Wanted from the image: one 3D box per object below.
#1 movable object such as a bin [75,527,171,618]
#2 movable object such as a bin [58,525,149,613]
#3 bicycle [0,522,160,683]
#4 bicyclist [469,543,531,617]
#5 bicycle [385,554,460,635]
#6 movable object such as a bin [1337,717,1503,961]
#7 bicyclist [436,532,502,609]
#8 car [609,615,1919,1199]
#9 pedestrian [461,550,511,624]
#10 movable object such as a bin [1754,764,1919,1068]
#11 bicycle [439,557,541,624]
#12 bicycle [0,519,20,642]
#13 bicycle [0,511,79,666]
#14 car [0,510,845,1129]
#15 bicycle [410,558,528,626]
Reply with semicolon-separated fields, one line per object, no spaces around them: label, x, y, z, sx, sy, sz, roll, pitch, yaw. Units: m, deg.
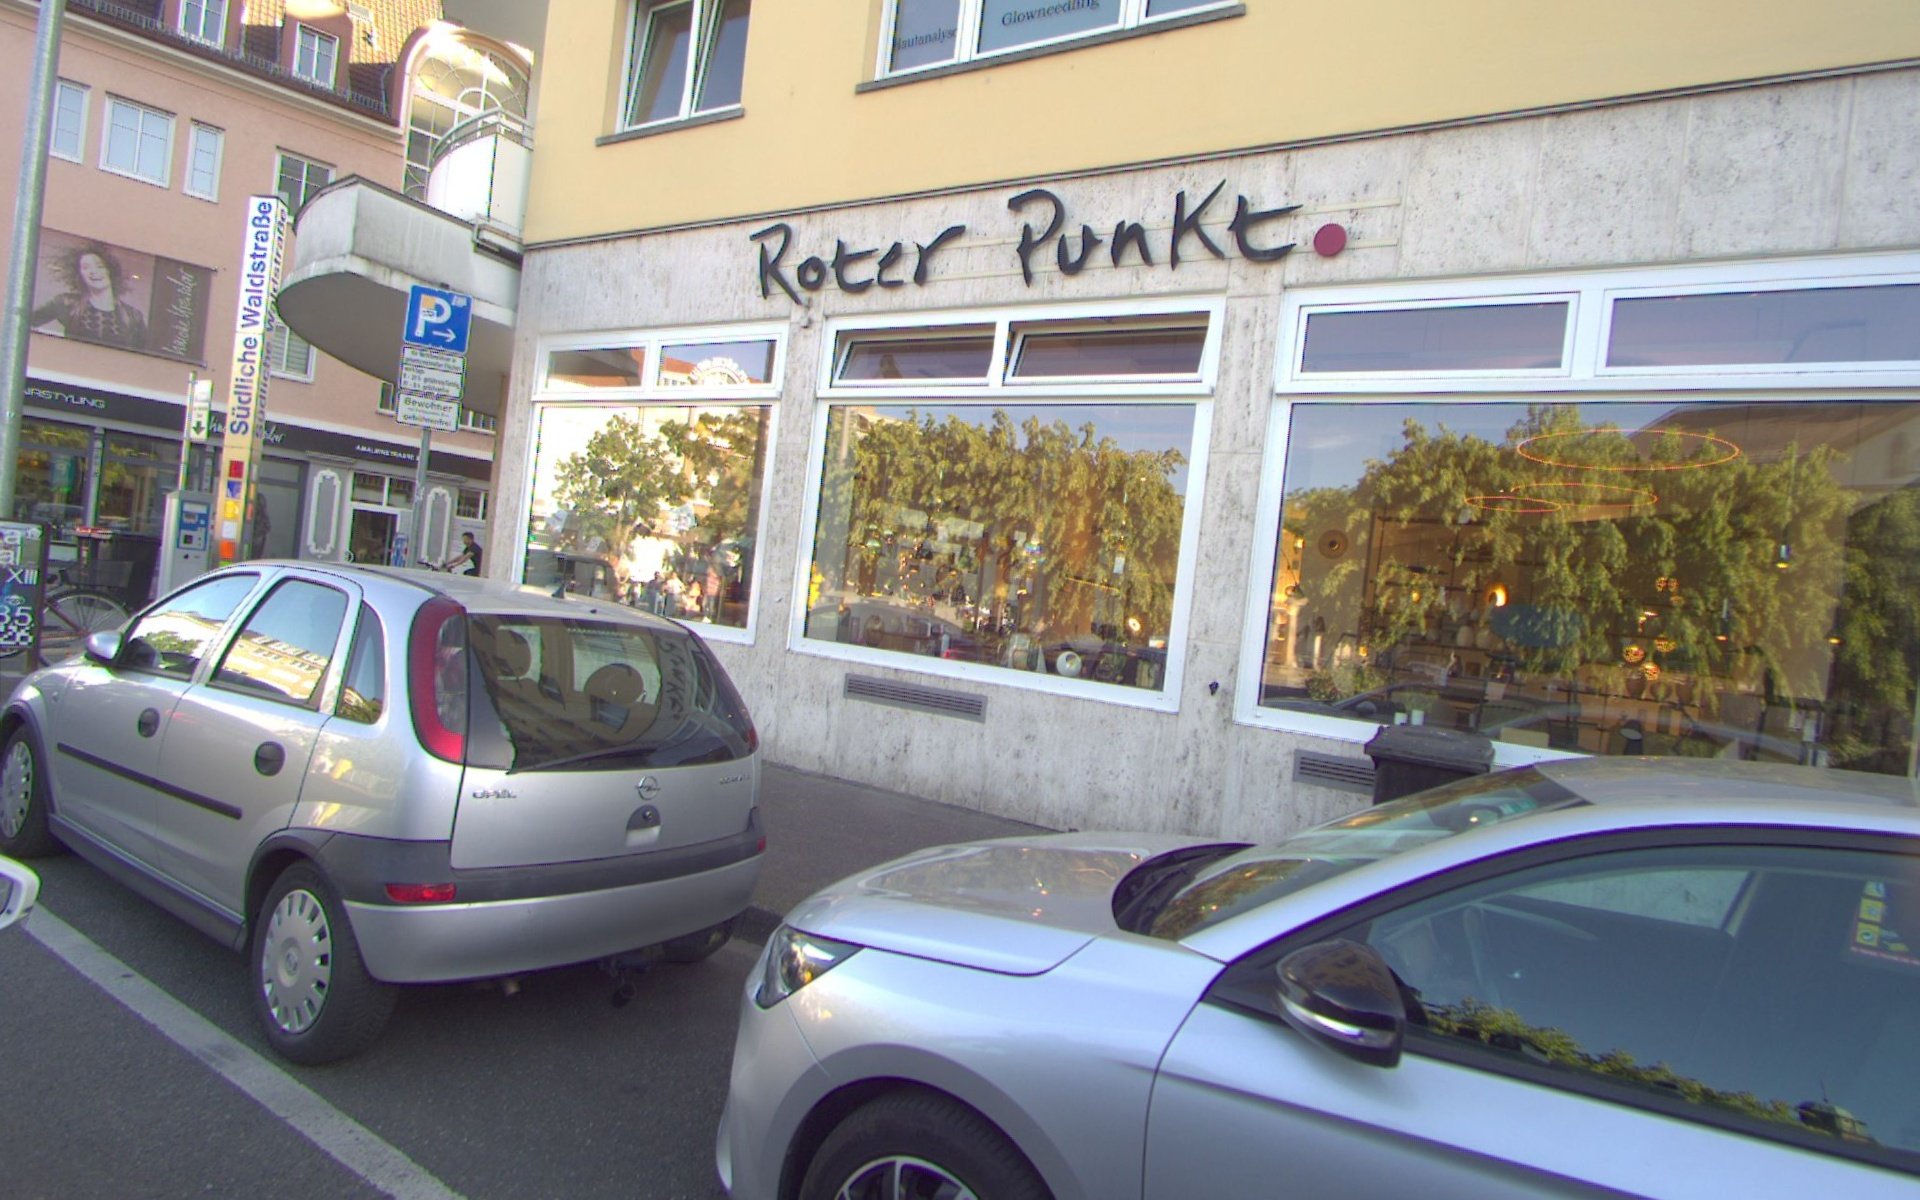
movable object such as a bin;-11.388;-0.372;13.692;0.617;1.105;0.754;6;-2;33
movable object such as a bin;-11.924;-0.429;14.012;0.617;1.105;0.734;6;-2;34
bicycle;-7.587;-0.001;7.893;0.681;1.208;1.885;8;1;37
bicyclist;-10.029;-0.444;21.932;0.942;1.467;0.797;7;0;-39
bicycle;-9.379;-0.123;17.511;0.656;1.213;2.188;7;-1;-39
movable object such as a bin;2.390;1.174;5.190;0.592;1.041;0.811;7;0;31
bicyclist;-10.016;-0.602;20.526;0.919;1.431;0.797;7;0;-39
car;1.273;0.984;1.995;3.643;1.415;1.653;7;-1;30
pedestrian;-10.708;-0.294;22.725;0.743;1.571;0.692;7;0;-38
movable object such as a bin;3.985;1.313;4.192;0.879;1.066;0.752;6;0;32
bicycle;-10.179;-0.198;21.810;1.786;1.237;0.673;8;-1;-40
bicycle;-9.751;-0.258;9.012;0.770;1.138;1.797;7;1;37
bicycle;-8.593;-0.150;8.367;0.778;1.284;1.721;7;1;37
car;-2.456;0.546;4.170;3.583;1.397;1.616;6;-2;32
bicycle;-10.028;-0.149;20.566;1.959;1.163;0.782;7;0;-40
